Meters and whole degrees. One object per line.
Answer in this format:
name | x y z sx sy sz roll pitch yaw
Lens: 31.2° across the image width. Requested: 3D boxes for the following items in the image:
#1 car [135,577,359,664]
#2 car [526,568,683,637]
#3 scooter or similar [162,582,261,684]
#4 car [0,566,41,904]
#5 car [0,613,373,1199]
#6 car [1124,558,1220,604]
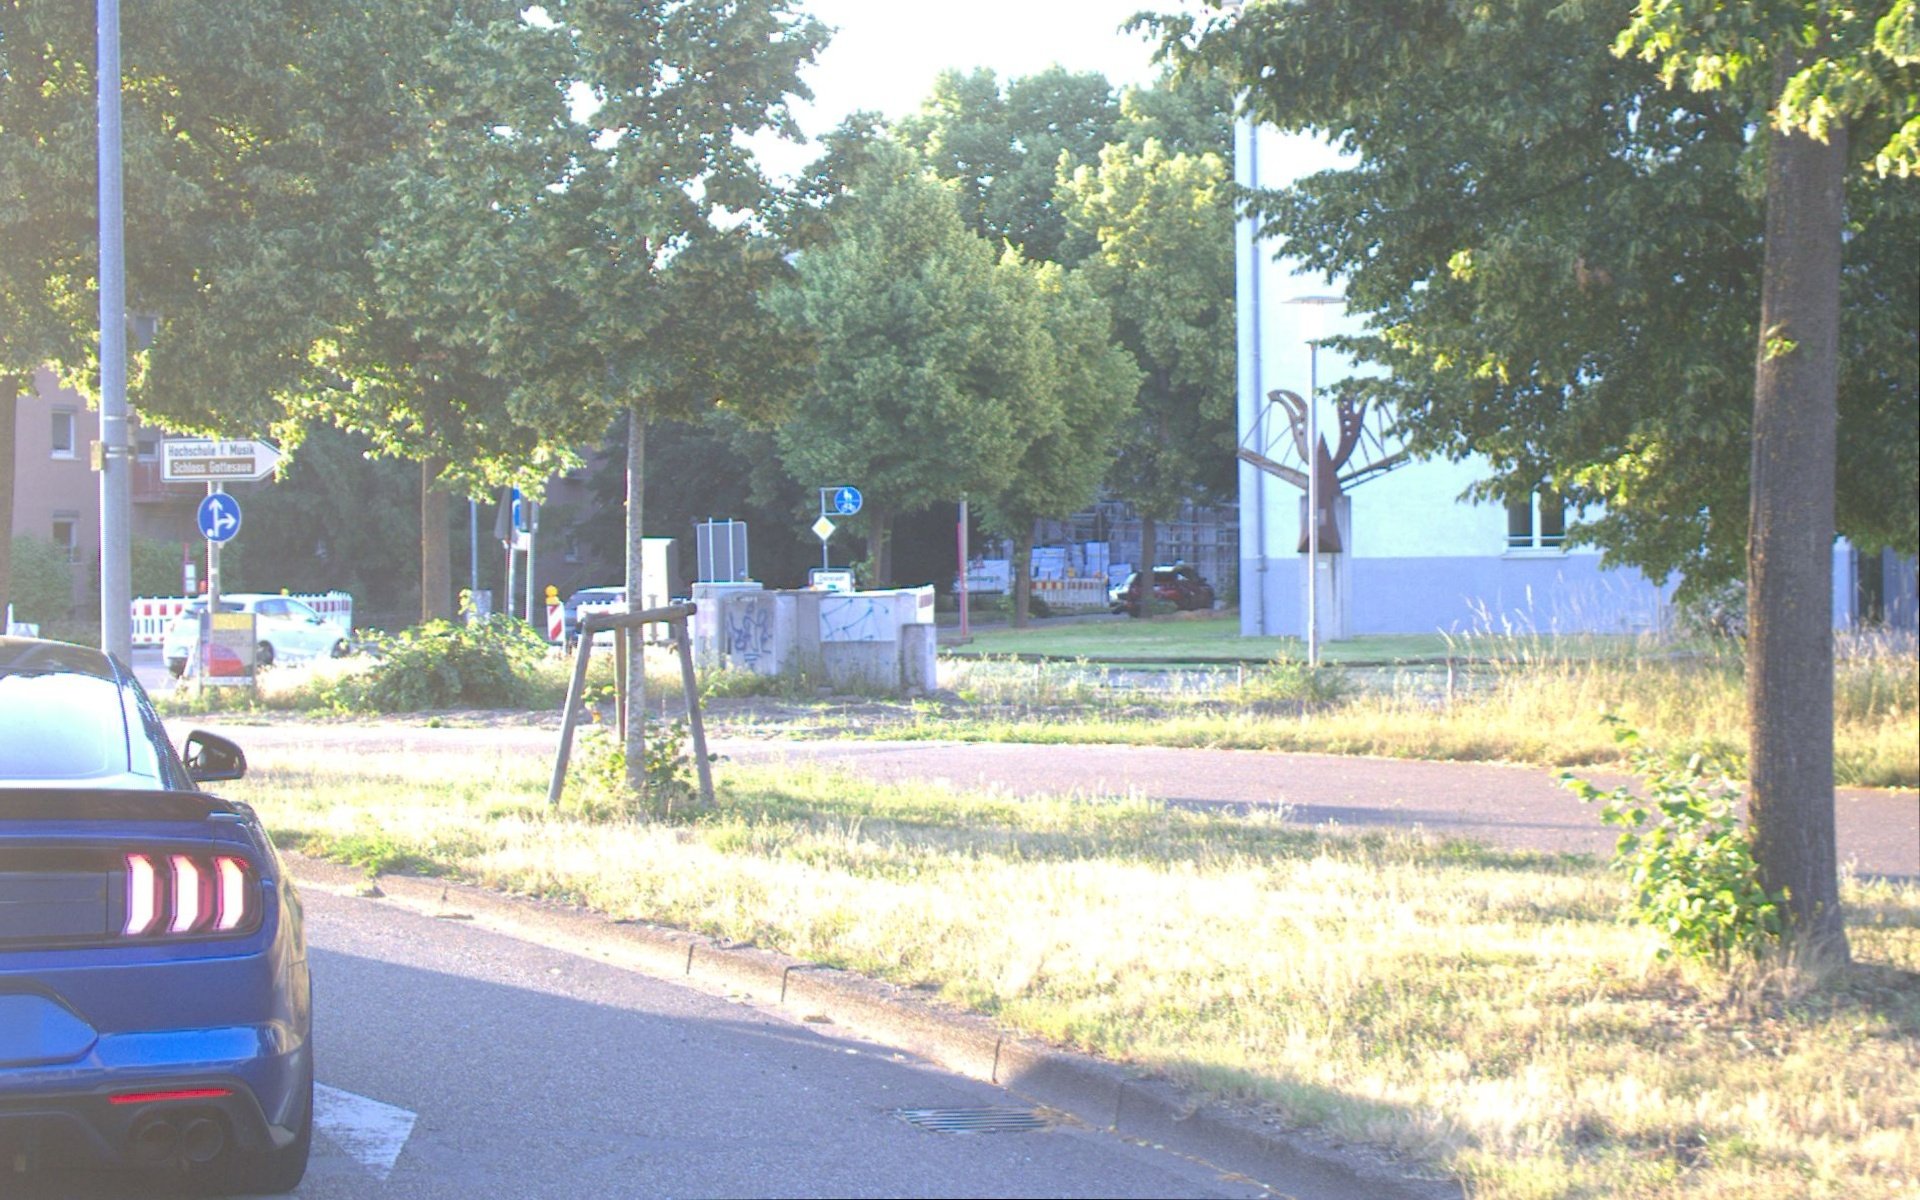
car | -12.205 0.325 59.114 1.878 1.396 3.912 0 1 23
car | -7.514 0.032 73.011 1.877 1.396 3.913 0 1 18
scooter or similar | -9.310 0.404 42.757 1.120 1.234 0.442 -1 1 -31
car | -5.889 0.524 15.925 1.951 1.422 4.430 1 0 -32
car | -2.998 0.721 9.199 1.950 1.337 4.672 2 0 -20
car | 6.717 -0.601 108.756 1.878 1.396 3.912 0 1 22
